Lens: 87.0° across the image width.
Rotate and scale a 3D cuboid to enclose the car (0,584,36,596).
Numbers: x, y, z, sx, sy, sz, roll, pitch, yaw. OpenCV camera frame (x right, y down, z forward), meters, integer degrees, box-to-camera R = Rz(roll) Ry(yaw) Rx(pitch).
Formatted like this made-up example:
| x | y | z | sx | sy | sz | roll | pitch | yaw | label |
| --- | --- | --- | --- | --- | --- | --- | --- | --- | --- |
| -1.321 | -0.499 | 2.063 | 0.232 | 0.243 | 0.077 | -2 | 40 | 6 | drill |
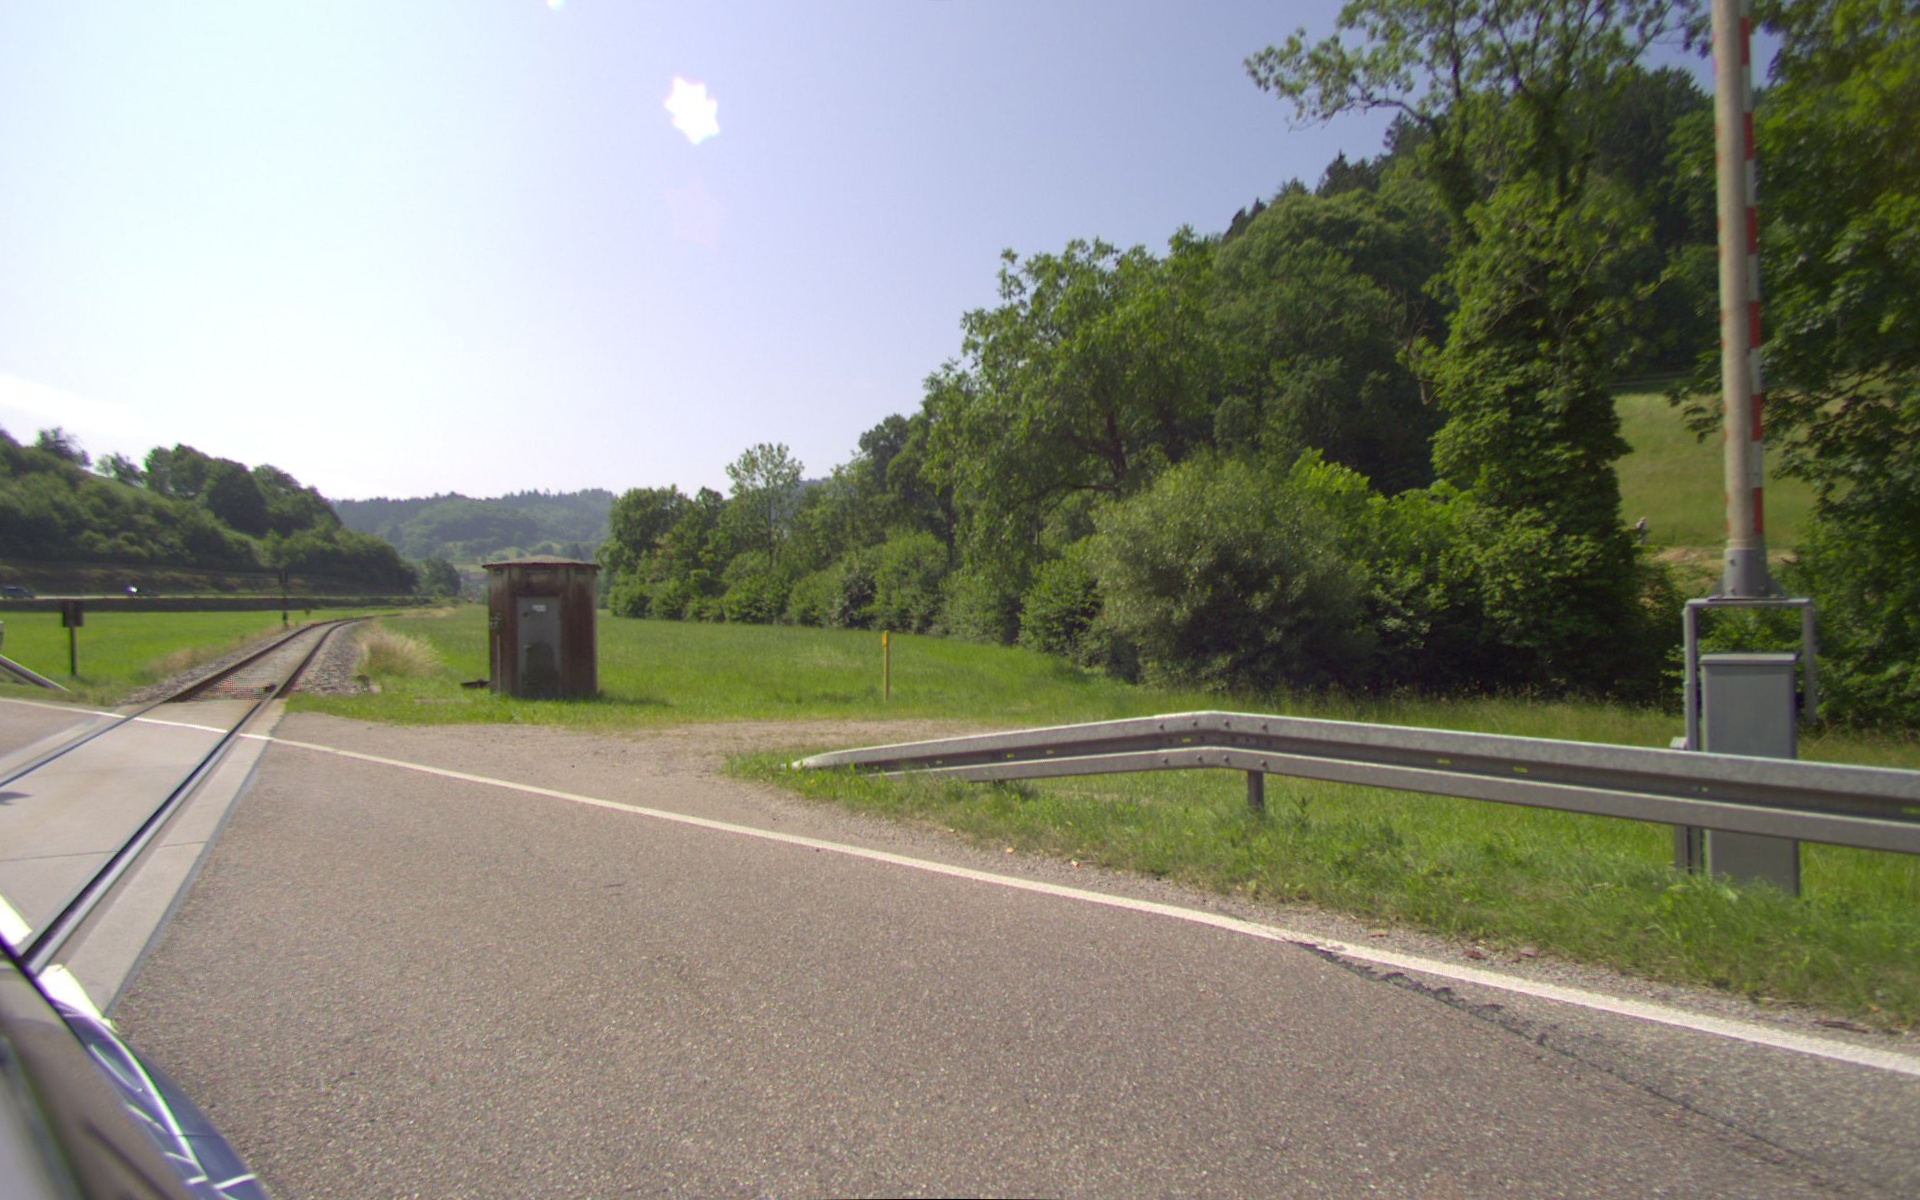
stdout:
| x | y | z | sx | sy | sz | roll | pitch | yaw | label |
| --- | --- | --- | --- | --- | --- | --- | --- | --- | --- |
| -134.142 | -1.388 | 143.756 | 1.844 | 1.636 | 4.513 | -1 | -1 | -3 | car |
